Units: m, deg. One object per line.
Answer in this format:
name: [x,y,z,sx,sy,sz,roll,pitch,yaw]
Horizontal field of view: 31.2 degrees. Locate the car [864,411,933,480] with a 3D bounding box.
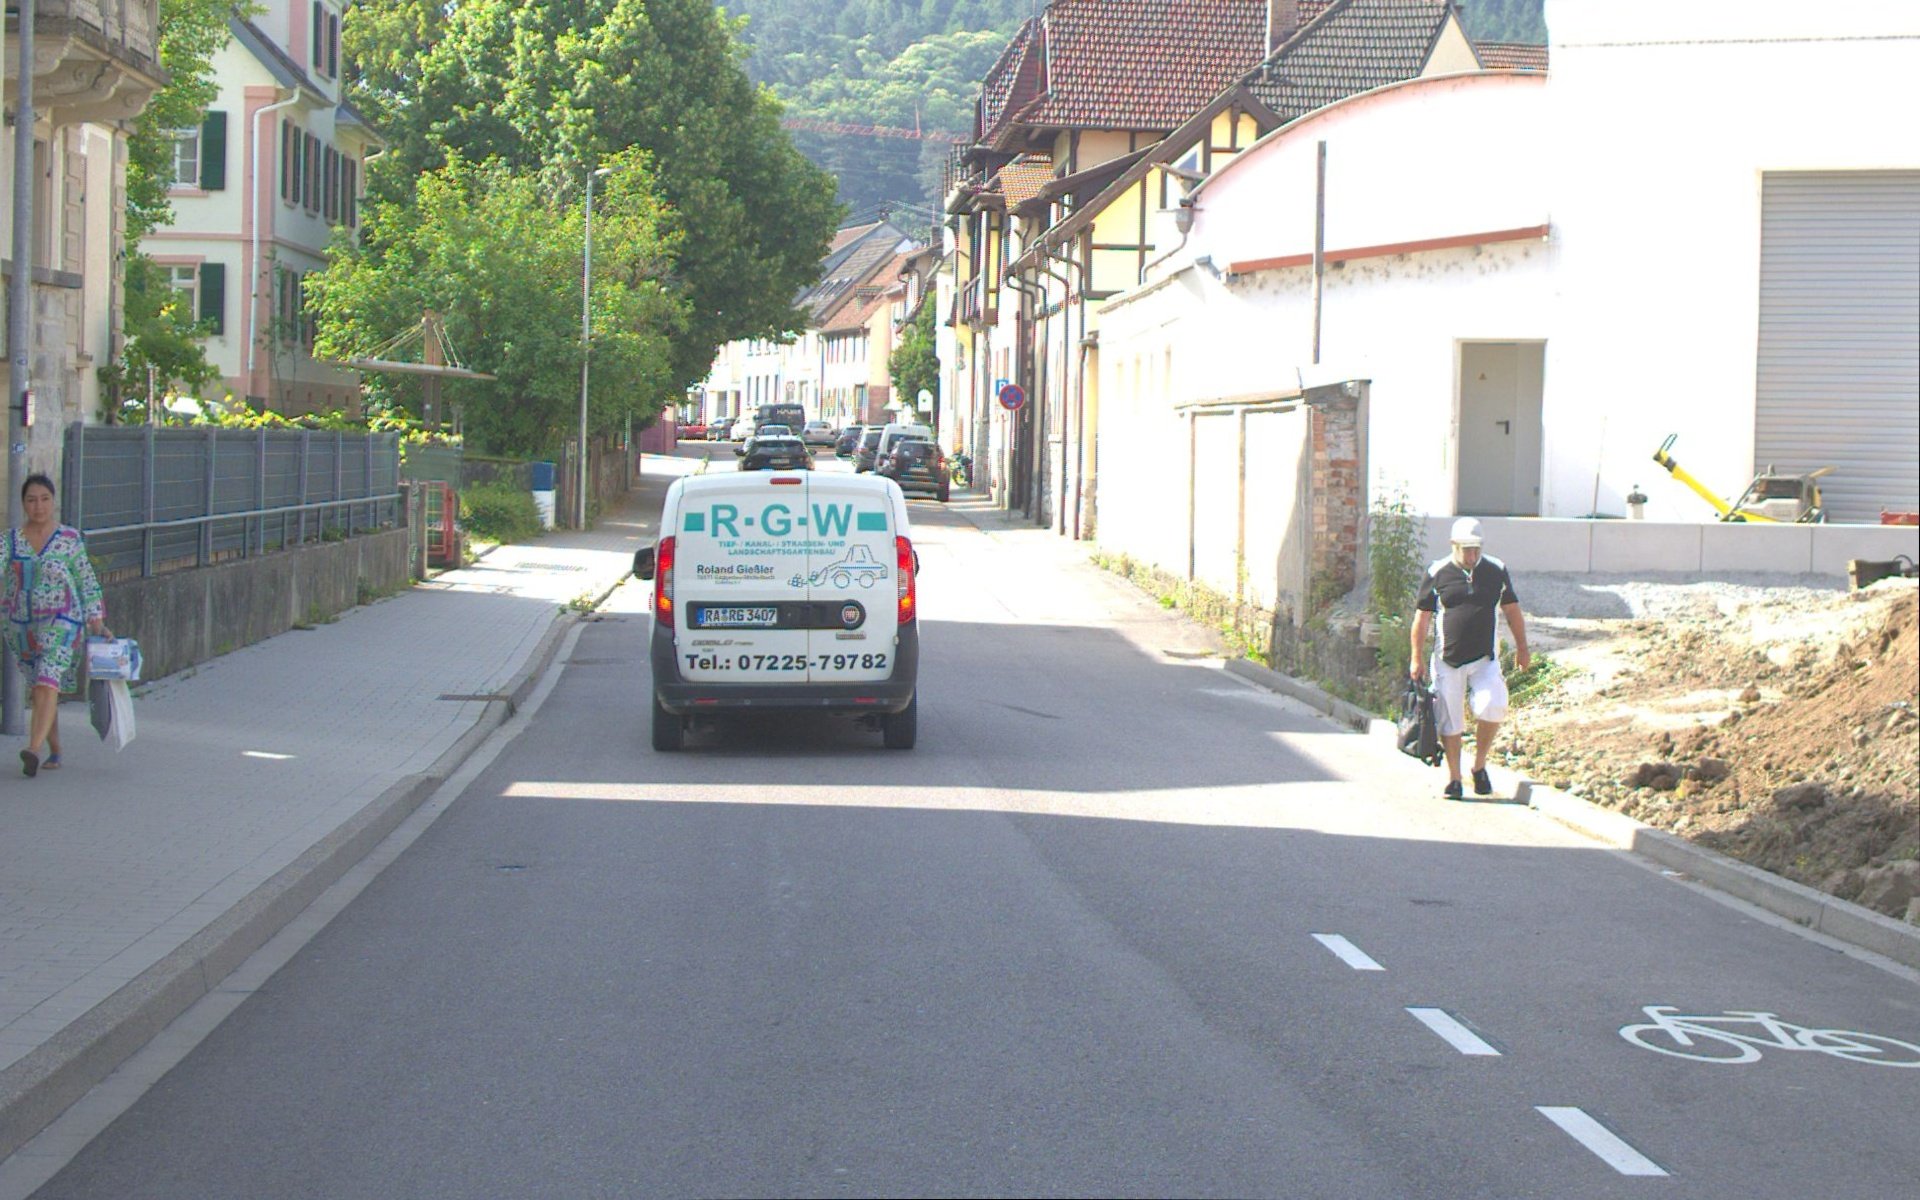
car: [-1.892,-4.730,104.869,1.871,2.006,4.001,2,3,-3]

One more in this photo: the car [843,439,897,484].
car: [-3.177,-4.903,121.296,1.669,1.502,4.001,1,3,-5]

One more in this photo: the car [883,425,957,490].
car: [-1.134,-3.945,94.795,1.810,1.591,3.928,4,3,-3]

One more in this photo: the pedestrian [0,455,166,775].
pedestrian: [-4.782,0.061,18.199,0.958,1.625,0.758,2,2,-3]

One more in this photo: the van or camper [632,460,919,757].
van or camper: [-1.316,-0.030,24.041,1.828,1.838,4.190,0,3,-4]

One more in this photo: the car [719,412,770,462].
car: [-12.656,-9.571,201.522,2.874,2.825,6.126,1,3,-5]

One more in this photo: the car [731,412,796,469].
car: [-6.201,-5.042,108.227,1.810,1.591,3.928,4,3,-6]

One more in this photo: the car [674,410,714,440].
car: [-16.633,-10.969,214.910,1.771,1.792,4.002,1,3,-14]

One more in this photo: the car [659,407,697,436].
car: [-18.066,-11.457,220.222,1.771,1.792,4.002,1,3,-14]

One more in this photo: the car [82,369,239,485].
car: [-13.733,-3.003,59.277,1.822,1.766,4.684,5,3,-5]

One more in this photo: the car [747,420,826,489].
car: [-4.529,-3.804,89.293,1.810,1.591,3.928,4,3,-5]

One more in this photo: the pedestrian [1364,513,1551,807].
pedestrian: [2.963,0.346,20.541,0.888,1.677,0.718,3,2,-3]
